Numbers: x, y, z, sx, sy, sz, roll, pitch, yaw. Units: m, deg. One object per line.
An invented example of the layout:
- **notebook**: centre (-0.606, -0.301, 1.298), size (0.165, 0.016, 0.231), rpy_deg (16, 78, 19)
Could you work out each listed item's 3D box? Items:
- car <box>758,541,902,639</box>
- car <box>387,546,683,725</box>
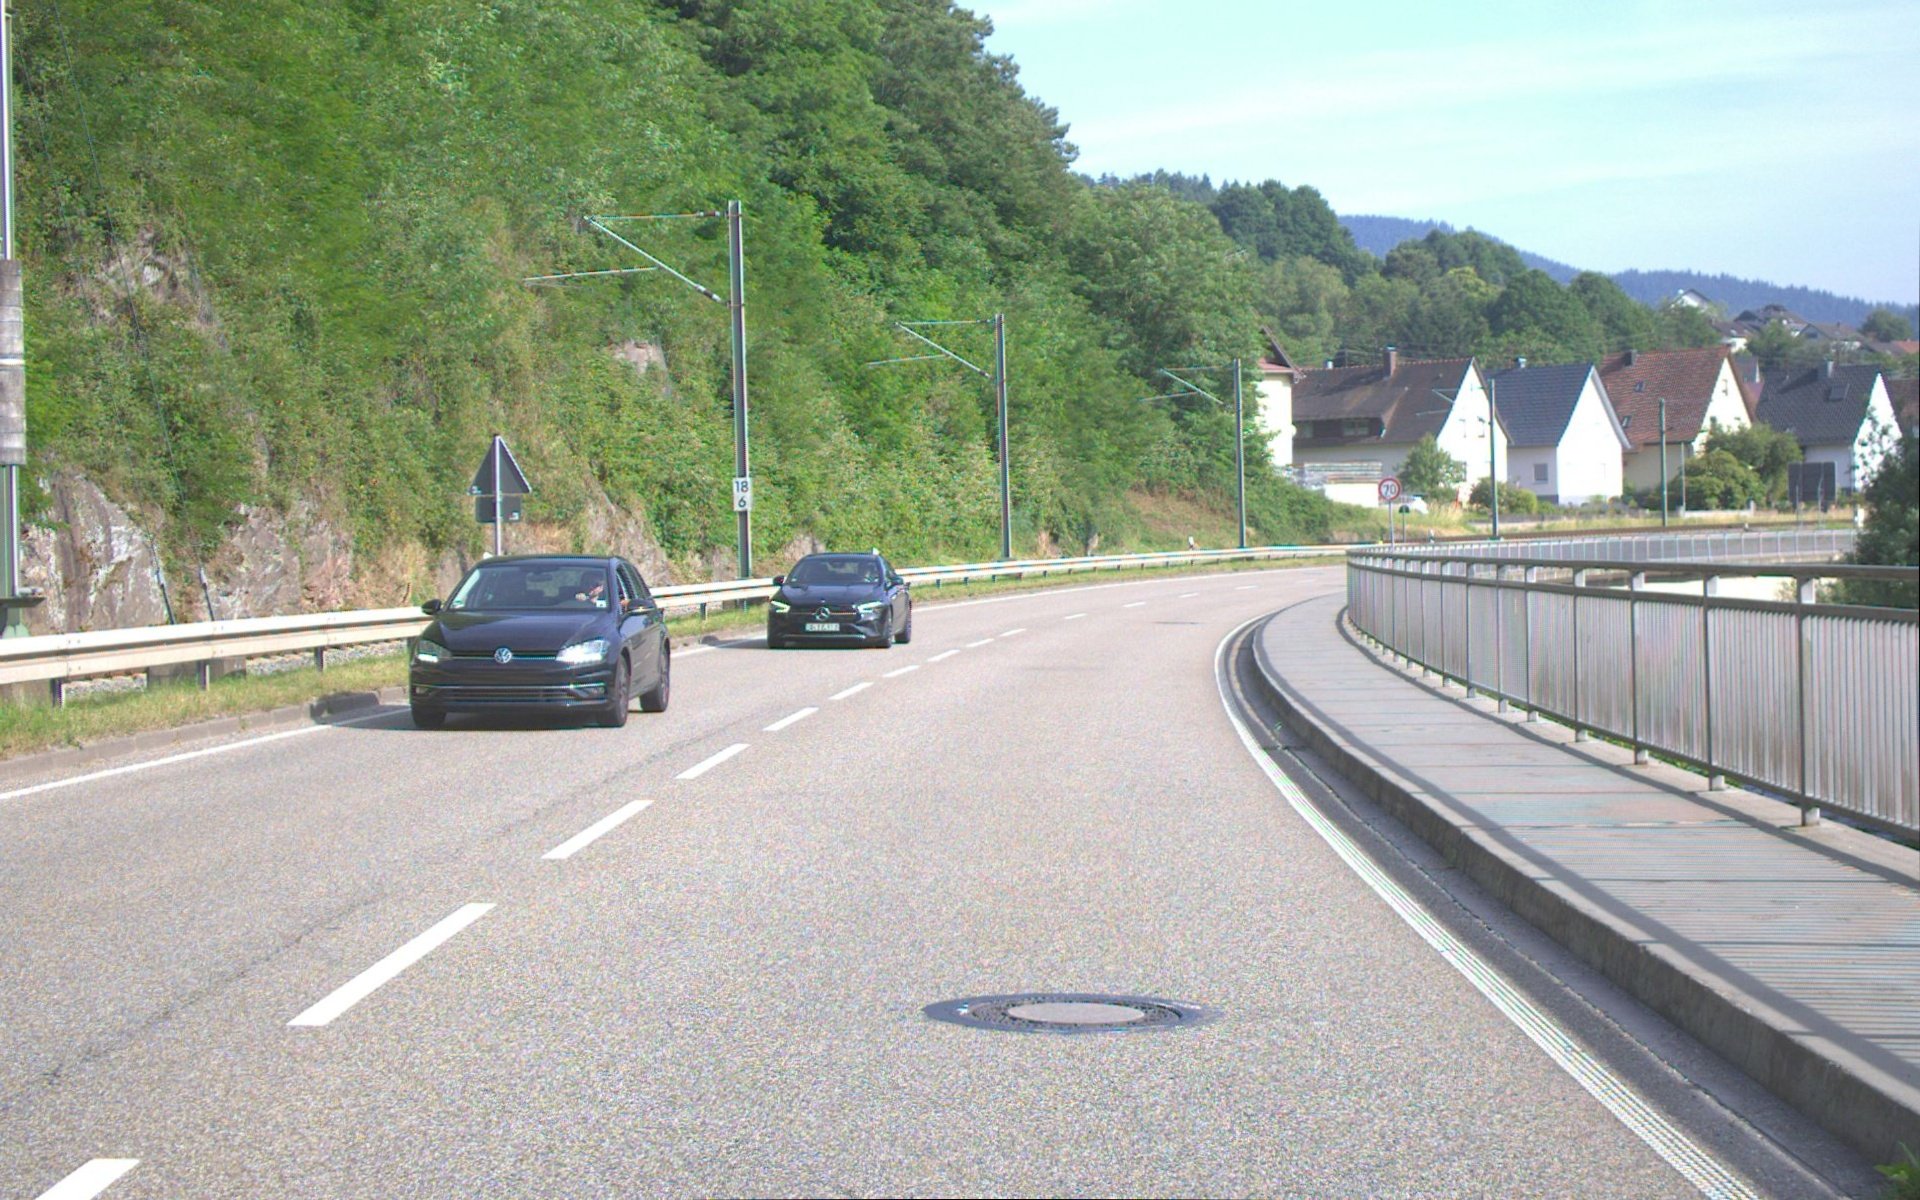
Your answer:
- **car**: centre (-1.926, -0.171, 52.195), size (1.847, 1.397, 4.476), rpy_deg (-1, 1, 2)
- **car**: centre (-3.592, 0.252, 29.695), size (1.847, 1.435, 3.897), rpy_deg (0, 1, 4)
